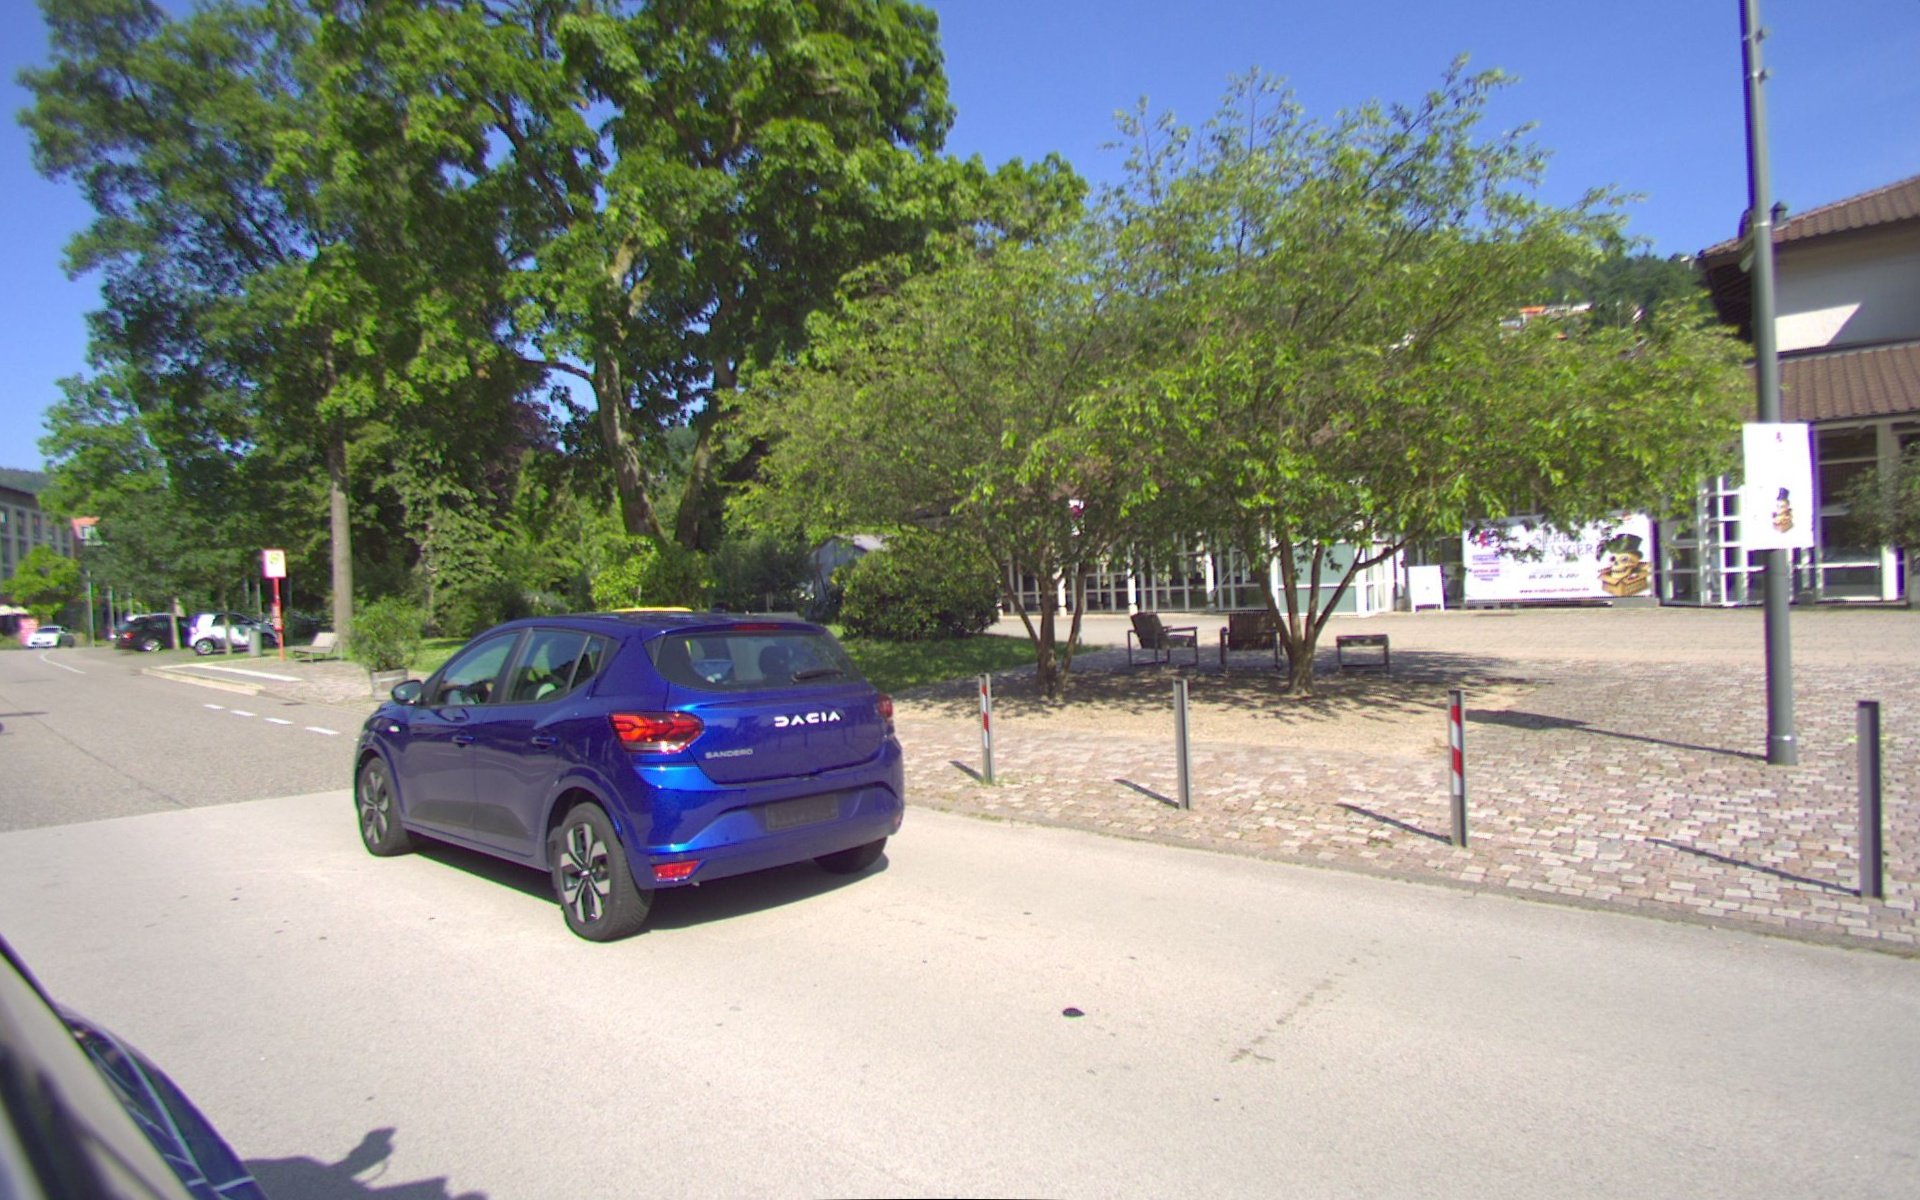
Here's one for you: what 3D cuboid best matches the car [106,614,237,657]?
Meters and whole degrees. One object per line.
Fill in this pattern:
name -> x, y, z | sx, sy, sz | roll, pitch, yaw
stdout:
car -> -35.136, 1.555, 45.190 | 1.711, 1.442, 4.236 | -2, 3, 38

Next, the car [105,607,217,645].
car -> -42.233, 1.357, 53.641 | 4.425, 1.427, 1.815 | -8, 5, -34

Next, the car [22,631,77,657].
car -> -63.095, 2.997, 70.203 | 1.627, 1.481, 4.013 | -5, 2, -25

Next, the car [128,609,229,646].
car -> -45.513, 1.566, 58.994 | 4.431, 1.675, 1.812 | -6, 4, -43

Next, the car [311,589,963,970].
car -> -2.136, 0.745, 5.959 | 4.184, 1.474, 1.723 | -2, -1, 41

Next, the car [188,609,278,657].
car -> -27.788, 1.220, 38.692 | 2.618, 1.558, 1.685 | -6, 3, -39

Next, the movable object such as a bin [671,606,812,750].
movable object such as a bin -> -2.307, 0.787, 10.637 | 1.294, 1.351, 0.747 | -2, 3, 42

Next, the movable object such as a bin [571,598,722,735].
movable object such as a bin -> -3.723, 0.755, 12.004 | 1.376, 1.437, 1.067 | -2, 3, 42
